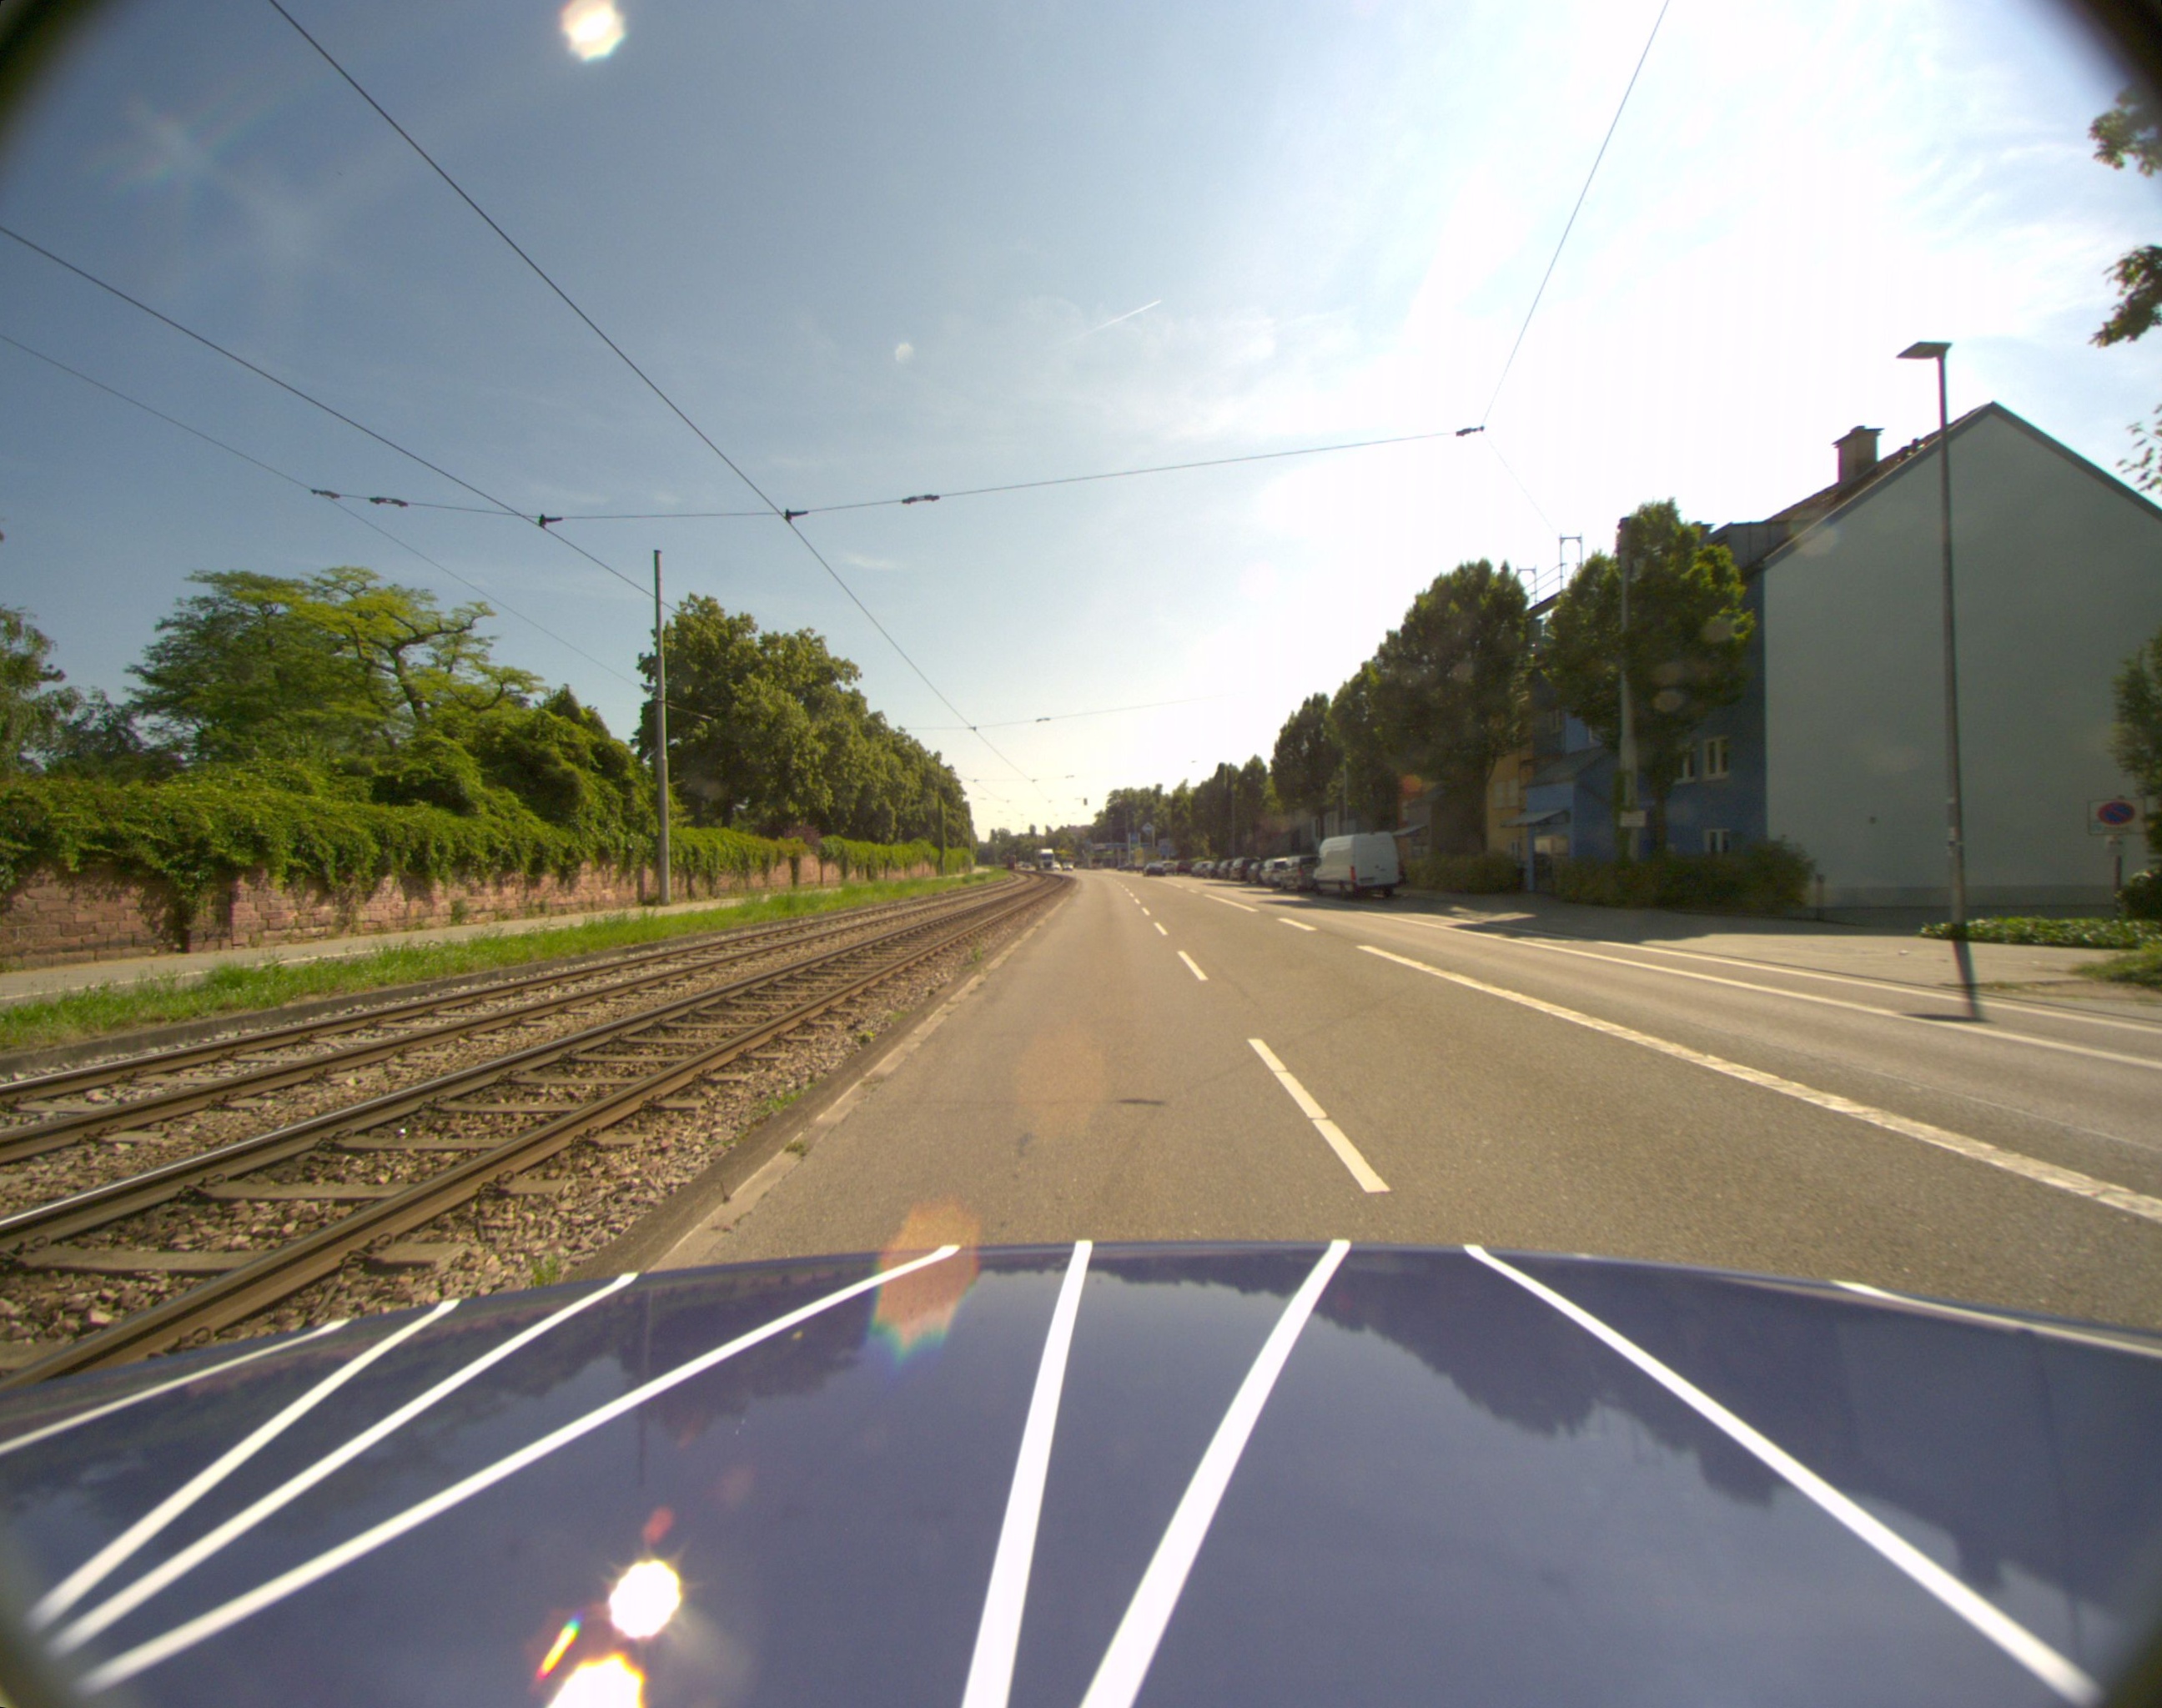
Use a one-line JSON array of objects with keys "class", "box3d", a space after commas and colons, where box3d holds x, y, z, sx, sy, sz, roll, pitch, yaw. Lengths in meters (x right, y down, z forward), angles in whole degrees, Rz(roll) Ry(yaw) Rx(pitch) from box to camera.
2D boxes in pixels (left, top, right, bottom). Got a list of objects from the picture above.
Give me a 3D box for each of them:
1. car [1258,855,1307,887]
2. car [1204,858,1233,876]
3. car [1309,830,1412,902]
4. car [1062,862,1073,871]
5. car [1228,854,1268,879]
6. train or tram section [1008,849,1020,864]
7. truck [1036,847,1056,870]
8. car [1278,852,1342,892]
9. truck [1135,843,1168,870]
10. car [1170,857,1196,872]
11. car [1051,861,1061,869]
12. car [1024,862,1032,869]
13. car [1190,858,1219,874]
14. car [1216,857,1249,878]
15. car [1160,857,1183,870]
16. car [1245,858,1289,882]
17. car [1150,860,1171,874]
[{"class": "car", "box3d": [12.278, 0.976, 46.586, 1.852, 1.693, 4.541, -4, 0, 3]}, {"class": "car", "box3d": [12.333, 1.137, 68.379, 1.681, 1.461, 4.213, -2, 0, -1]}, {"class": "car", "box3d": [11.860, 0.480, 32.892, 1.998, 2.661, 7.088, -4, 0, 3]}, {"class": "car", "box3d": [-2.417, 2.188, 136.551, 1.748, 1.421, 5.040, -2, 0, -4]}, {"class": "car", "box3d": [12.516, 0.908, 57.204, 1.834, 1.718, 4.349, -3, 0, -1]}, {"class": "train or tram section", "box3d": [-17.579, 0.714, 200.511, 2.721, 3.715, 18.872, -2, 0, -4]}, {"class": "truck", "box3d": [-6.565, 0.797, 140.794, 2.806, 3.926, 11.937, -1, 0, -6]}, {"class": "car", "box3d": [12.252, 0.914, 41.067, 1.998, 1.855, 4.967, -5, 0, 2]}, {"class": "truck", "box3d": [9.825, 0.368, 106.747, 3.165, 3.533, 8.781, -1, 0, -4]}, {"class": "car", "box3d": [11.580, 1.153, 86.394, 1.910, 1.567, 4.930, -2, 0, -4]}, {"class": "car", "box3d": [-5.233, 2.374, 157.966, 1.785, 1.538, 4.393, -2, 0, -3]}, {"class": "car", "box3d": [-14.295, 3.069, 205.401, 1.854, 1.707, 3.999, -3, 1, -2]}, {"class": "car", "box3d": [12.182, 1.117, 75.092, 1.681, 1.437, 4.836, -2, 0, -4]}, {"class": "car", "box3d": [12.421, 1.060, 62.460, 1.681, 1.598, 4.165, -2, 0, -1]}, {"class": "car", "box3d": [11.277, 1.200, 94.632, 2.039, 1.490, 4.131, -2, 0, -4]}, {"class": "car", "box3d": [12.663, 1.074, 52.013, 1.871, 1.446, 4.075, -4, 0, -1]}, {"class": "car", "box3d": [7.446, 1.231, 71.118, 1.691, 1.237, 4.065, -1, 0, 2]}]
